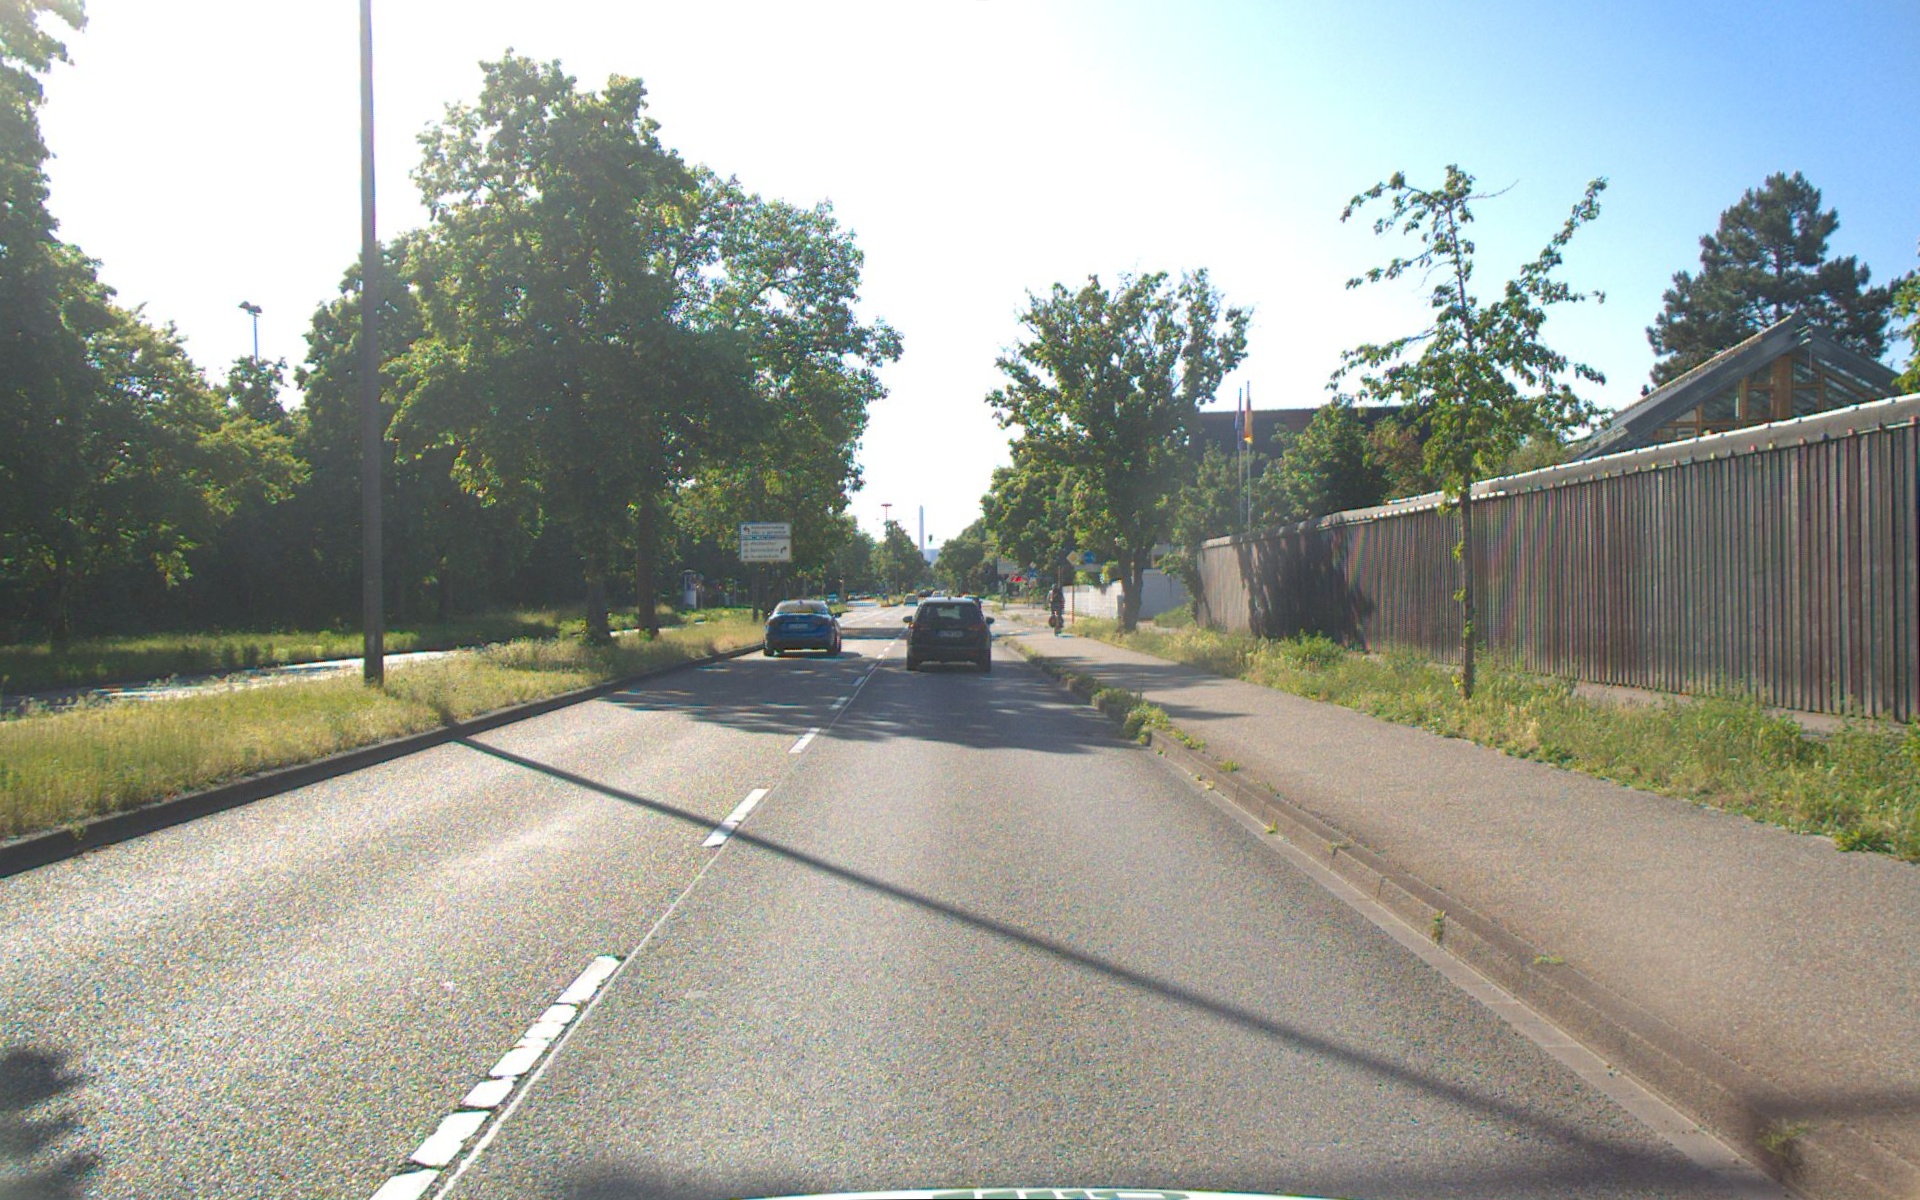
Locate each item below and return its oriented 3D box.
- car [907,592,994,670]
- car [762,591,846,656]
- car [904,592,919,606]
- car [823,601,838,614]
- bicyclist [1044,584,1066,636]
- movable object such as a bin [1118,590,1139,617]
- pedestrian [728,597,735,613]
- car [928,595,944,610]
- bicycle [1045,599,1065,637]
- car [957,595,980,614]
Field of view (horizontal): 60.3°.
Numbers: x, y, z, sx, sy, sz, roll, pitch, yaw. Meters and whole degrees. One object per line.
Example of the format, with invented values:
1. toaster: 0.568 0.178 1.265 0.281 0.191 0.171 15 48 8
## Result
1. car: -0.218 0.631 34.678 1.720 1.535 3.808 0 0 -1
2. car: -4.033 0.599 43.345 1.850 1.579 3.999 -1 0 -1
3. car: -6.235 -0.129 212.994 1.788 1.643 3.839 -2 1 -2
4. car: -18.904 1.094 241.528 1.873 1.733 4.407 1 -1 0
5. bicyclist: 3.129 0.319 54.466 0.617 1.661 0.982 -4 0 3
6. movable object such as a bin: 8.051 0.175 79.013 0.980 1.226 1.063 -3 -1 6
7. pedestrian: -27.614 0.600 199.895 0.828 1.867 0.549 0 0 0
8. car: -2.709 0.300 185.420 1.697 1.613 3.839 1 0 -1
9. bicycle: 3.133 0.575 54.490 0.562 1.175 2.142 -4 1 4
10. car: 0.702 0.336 131.809 1.696 1.485 3.841 0 0 2
